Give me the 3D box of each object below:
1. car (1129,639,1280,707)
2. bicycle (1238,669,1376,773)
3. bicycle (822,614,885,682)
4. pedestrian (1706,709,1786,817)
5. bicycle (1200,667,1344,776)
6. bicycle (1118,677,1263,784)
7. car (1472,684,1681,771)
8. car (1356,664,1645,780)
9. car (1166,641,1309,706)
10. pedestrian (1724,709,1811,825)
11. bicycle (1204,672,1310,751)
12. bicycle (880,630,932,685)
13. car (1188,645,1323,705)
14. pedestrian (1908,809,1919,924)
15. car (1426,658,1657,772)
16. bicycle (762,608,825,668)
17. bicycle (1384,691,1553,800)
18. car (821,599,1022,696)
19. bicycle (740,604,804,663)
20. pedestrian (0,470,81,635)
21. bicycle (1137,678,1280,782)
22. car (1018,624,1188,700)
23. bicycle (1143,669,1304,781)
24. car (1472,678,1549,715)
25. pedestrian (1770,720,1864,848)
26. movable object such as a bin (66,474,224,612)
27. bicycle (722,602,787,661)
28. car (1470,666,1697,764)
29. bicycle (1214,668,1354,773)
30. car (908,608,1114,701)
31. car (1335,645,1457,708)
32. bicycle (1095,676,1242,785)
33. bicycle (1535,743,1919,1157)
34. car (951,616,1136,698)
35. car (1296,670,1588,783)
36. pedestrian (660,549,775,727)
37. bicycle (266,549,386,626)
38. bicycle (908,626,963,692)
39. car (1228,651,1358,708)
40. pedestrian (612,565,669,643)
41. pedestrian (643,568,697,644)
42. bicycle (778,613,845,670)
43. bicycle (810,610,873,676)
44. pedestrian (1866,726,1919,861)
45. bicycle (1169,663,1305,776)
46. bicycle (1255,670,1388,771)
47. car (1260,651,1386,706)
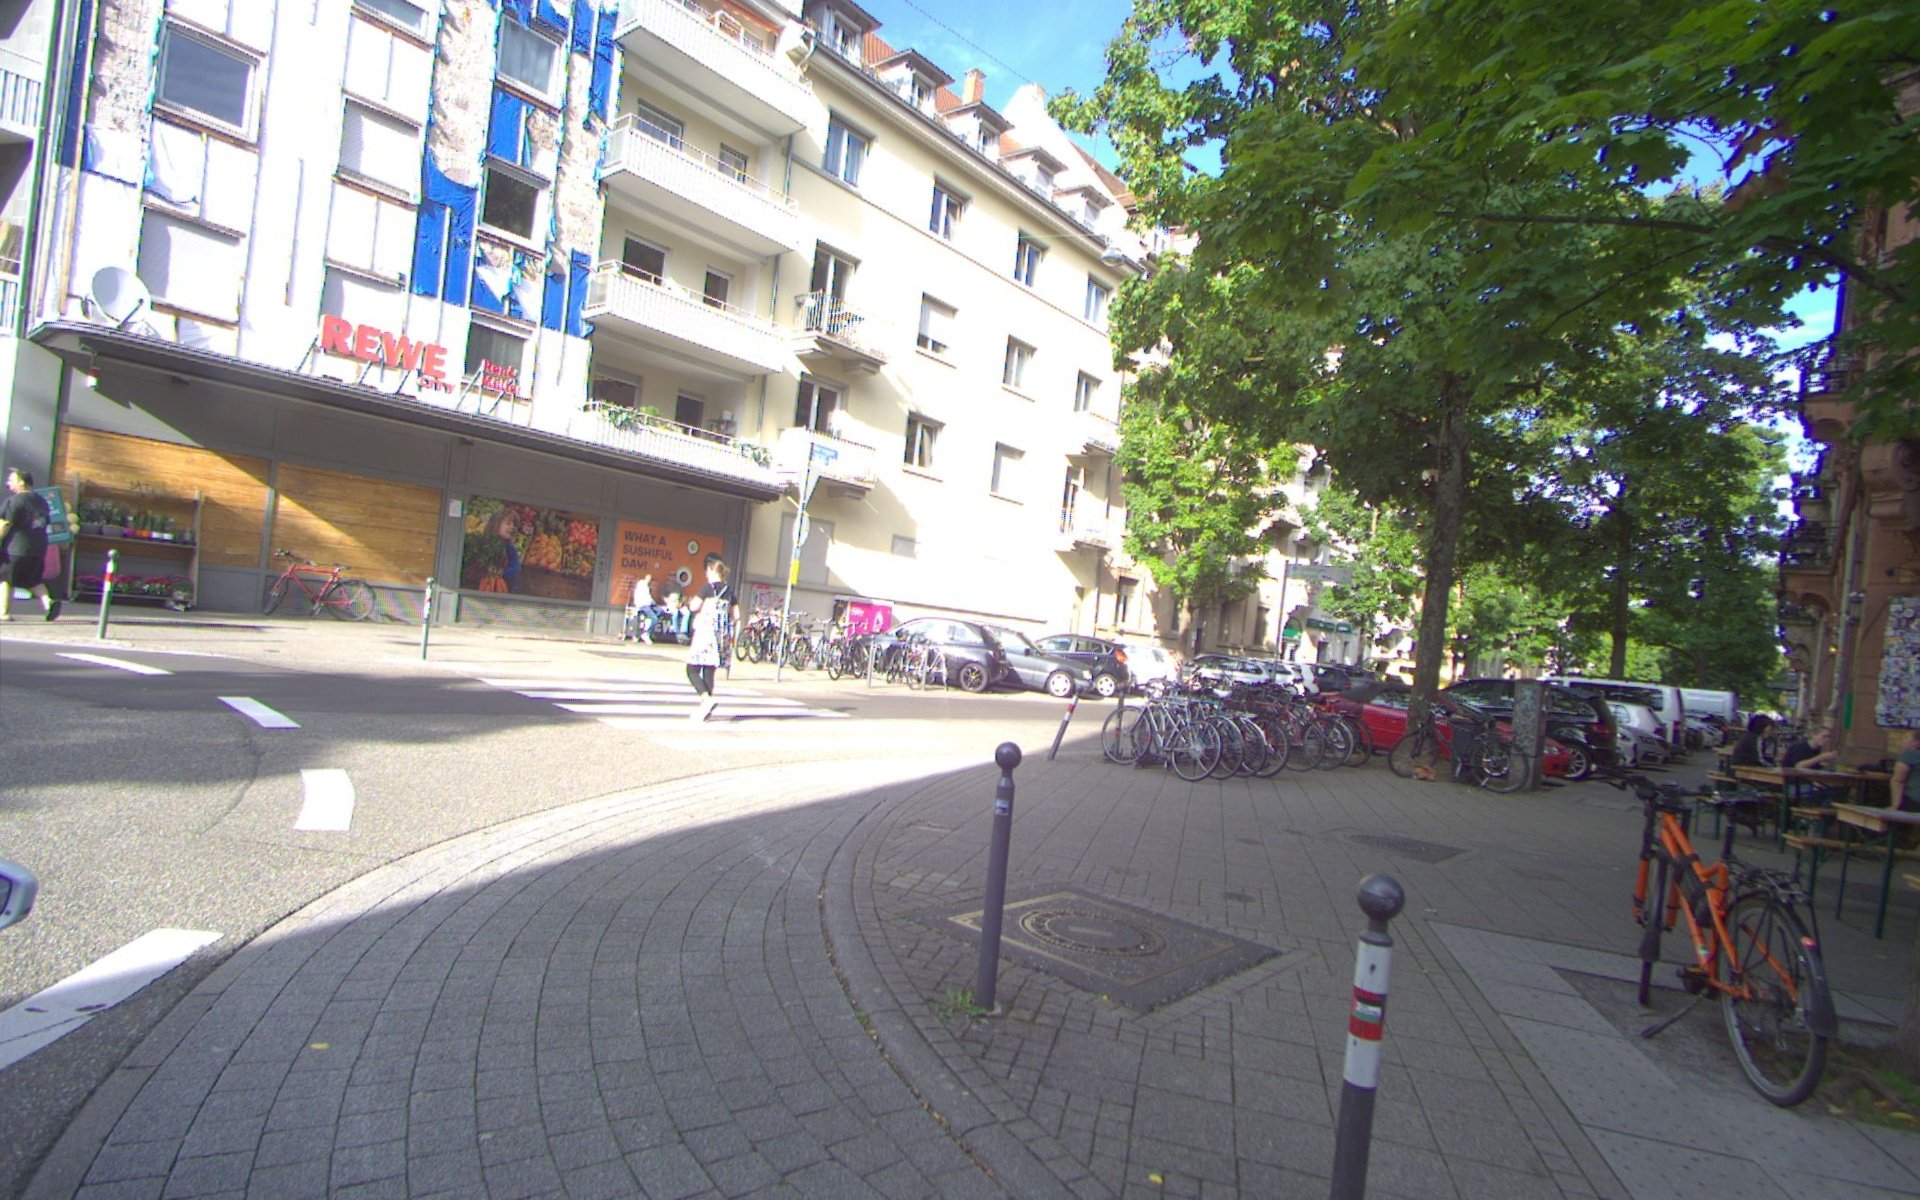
[{"bbox_3d":[7.937,2.353,32.867,4.541,1.513,1.752,8,-1,13],"label":"car"},{"bbox_3d":[4.819,1.658,14.028,1.685,1.216,0.447,4,0,33],"label":"bicycle"},{"bbox_3d":[-2.018,0.920,19.356,0.405,1.190,1.854,8,0,16],"label":"bicycle"},{"bbox_3d":[10.500,2.156,13.446,0.758,1.300,0.627,4,-2,39],"label":"pedestrian"},{"bbox_3d":[4.107,1.574,13.293,1.683,1.216,0.447,4,0,27],"label":"bicycle"},{"bbox_3d":[2.629,1.479,11.645,0.444,0.999,1.696,5,-1,-36],"label":"bicycle"},{"bbox_3d":[13.619,2.770,22.325,3.660,1.475,1.661,2,-3,43],"label":"car"},{"bbox_3d":[9.964,2.209,18.768,1.994,1.587,4.263,8,-3,-43],"label":"car"},{"bbox_3d":[9.577,2.530,35.040,4.541,1.513,1.752,8,-1,13],"label":"car"},{"bbox_3d":[10.071,2.062,12.566,0.758,1.300,0.627,4,-2,39],"label":"pedestrian"},{"bbox_3d":[4.723,1.749,15.859,0.574,1.108,2.488,2,-3,41],"label":"bicycle"},{"bbox_3d":[-1.057,1.140,20.067,0.483,1.014,1.424,8,0,16],"label":"bicycle"},{"bbox_3d":[10.866,2.753,37.299,4.541,1.513,1.752,8,-1,13],"label":"car"},{"bbox_3d":[7.121,1.583,6.942,0.711,1.396,0.662,6,0,-39],"label":"pedestrian"},{"bbox_3d":[11.865,2.315,20.631,3.658,1.741,1.853,6,-2,43],"label":"car"},{"bbox_3d":[-3.316,0.759,20.179,0.413,1.100,1.698,7,1,17],"label":"bicycle"},{"bbox_3d":[6.501,1.827,12.933,0.596,1.127,1.778,5,-1,-45],"label":"bicycle"},{"bbox_3d":[-0.803,0.994,22.086,3.924,1.473,1.810,8,1,14],"label":"car"},{"bbox_3d":[-3.762,0.674,20.286,0.413,1.100,1.698,7,1,17],"label":"bicycle"},{"bbox_3d":[-10.647,-0.557,11.455,0.846,1.770,1.036,4,3,-43],"label":"pedestrian"},{"bbox_3d":[2.921,1.512,11.971,0.444,0.999,1.696,5,-1,-36],"label":"bicycle"},{"bbox_3d":[4.110,1.755,28.748,4.541,1.451,1.752,8,-1,13],"label":"car"},{"bbox_3d":[3.184,1.494,12.371,0.444,1.102,2.026,5,-1,-36],"label":"bicycle"},{"bbox_3d":[34.678,6.068,63.460,3.776,1.658,1.736,8,-1,15],"label":"car"},{"bbox_3d":[9.216,1.955,10.820,0.508,1.240,0.634,4,0,-42],"label":"pedestrian"},{"bbox_3d":[-11.914,-0.806,14.741,0.680,1.777,1.543,10,2,38],"label":"movable object such as a bin"},{"bbox_3d":[-4.140,0.627,20.352,0.413,1.100,1.698,7,1,17],"label":"bicycle"},{"bbox_3d":[16.371,2.948,26.529,4.841,2.013,2.039,3,-2,38],"label":"car"},{"bbox_3d":[4.412,1.615,13.757,1.685,1.216,0.447,4,0,33],"label":"bicycle"},{"bbox_3d":[1.245,1.282,24.114,4.578,1.472,1.958,8,-1,6],"label":"car"},{"bbox_3d":[20.632,3.592,47.787,4.719,2.247,2.150,8,-1,9],"label":"car"},{"bbox_3d":[2.306,1.438,11.328,0.444,0.981,1.696,5,-1,-36],"label":"bicycle"},{"bbox_3d":[3.075,1.248,4.144,0.671,1.048,1.858,6,0,15],"label":"bicycle"},{"bbox_3d":[2.201,1.468,26.457,4.542,1.451,1.751,8,0,6],"label":"car"},{"bbox_3d":[7.895,2.040,16.684,4.054,1.284,1.563,4,-4,39],"label":"car"},{"bbox_3d":[-2.605,0.404,10.856,0.826,1.775,0.614,7,0,15],"label":"pedestrian"},{"bbox_3d":[-10.378,-0.199,16.497,1.524,1.046,0.576,7,1,-40],"label":"bicycle"},{"bbox_3d":[-0.468,1.143,19.786,0.405,1.190,1.854,8,0,16],"label":"bicycle"},{"bbox_3d":[12.944,3.084,39.400,4.541,1.513,1.752,8,-1,13],"label":"car"},{"bbox_3d":[-6.698,0.091,21.101,0.657,1.524,0.751,7,0,35],"label":"pedestrian"},{"bbox_3d":[-6.263,0.133,21.713,0.742,1.524,0.665,7,0,37],"label":"pedestrian"},{"bbox_3d":[-2.935,0.847,20.021,0.406,1.031,1.500,8,0,27],"label":"bicycle"},{"bbox_3d":[-2.312,0.855,19.798,0.405,1.190,1.854,8,0,16],"label":"bicycle"},{"bbox_3d":[9.672,1.959,10.179,0.508,1.275,0.634,4,0,-42],"label":"pedestrian"},{"bbox_3d":[3.514,1.494,12.895,0.444,1.216,1.696,5,-1,-36],"label":"bicycle"},{"bbox_3d":[5.160,1.703,14.451,0.445,1.216,1.691,5,-1,-45],"label":"bicycle"},{"bbox_3d":[14.871,3.203,41.481,4.541,1.513,1.752,8,-1,13],"label":"car"}]
